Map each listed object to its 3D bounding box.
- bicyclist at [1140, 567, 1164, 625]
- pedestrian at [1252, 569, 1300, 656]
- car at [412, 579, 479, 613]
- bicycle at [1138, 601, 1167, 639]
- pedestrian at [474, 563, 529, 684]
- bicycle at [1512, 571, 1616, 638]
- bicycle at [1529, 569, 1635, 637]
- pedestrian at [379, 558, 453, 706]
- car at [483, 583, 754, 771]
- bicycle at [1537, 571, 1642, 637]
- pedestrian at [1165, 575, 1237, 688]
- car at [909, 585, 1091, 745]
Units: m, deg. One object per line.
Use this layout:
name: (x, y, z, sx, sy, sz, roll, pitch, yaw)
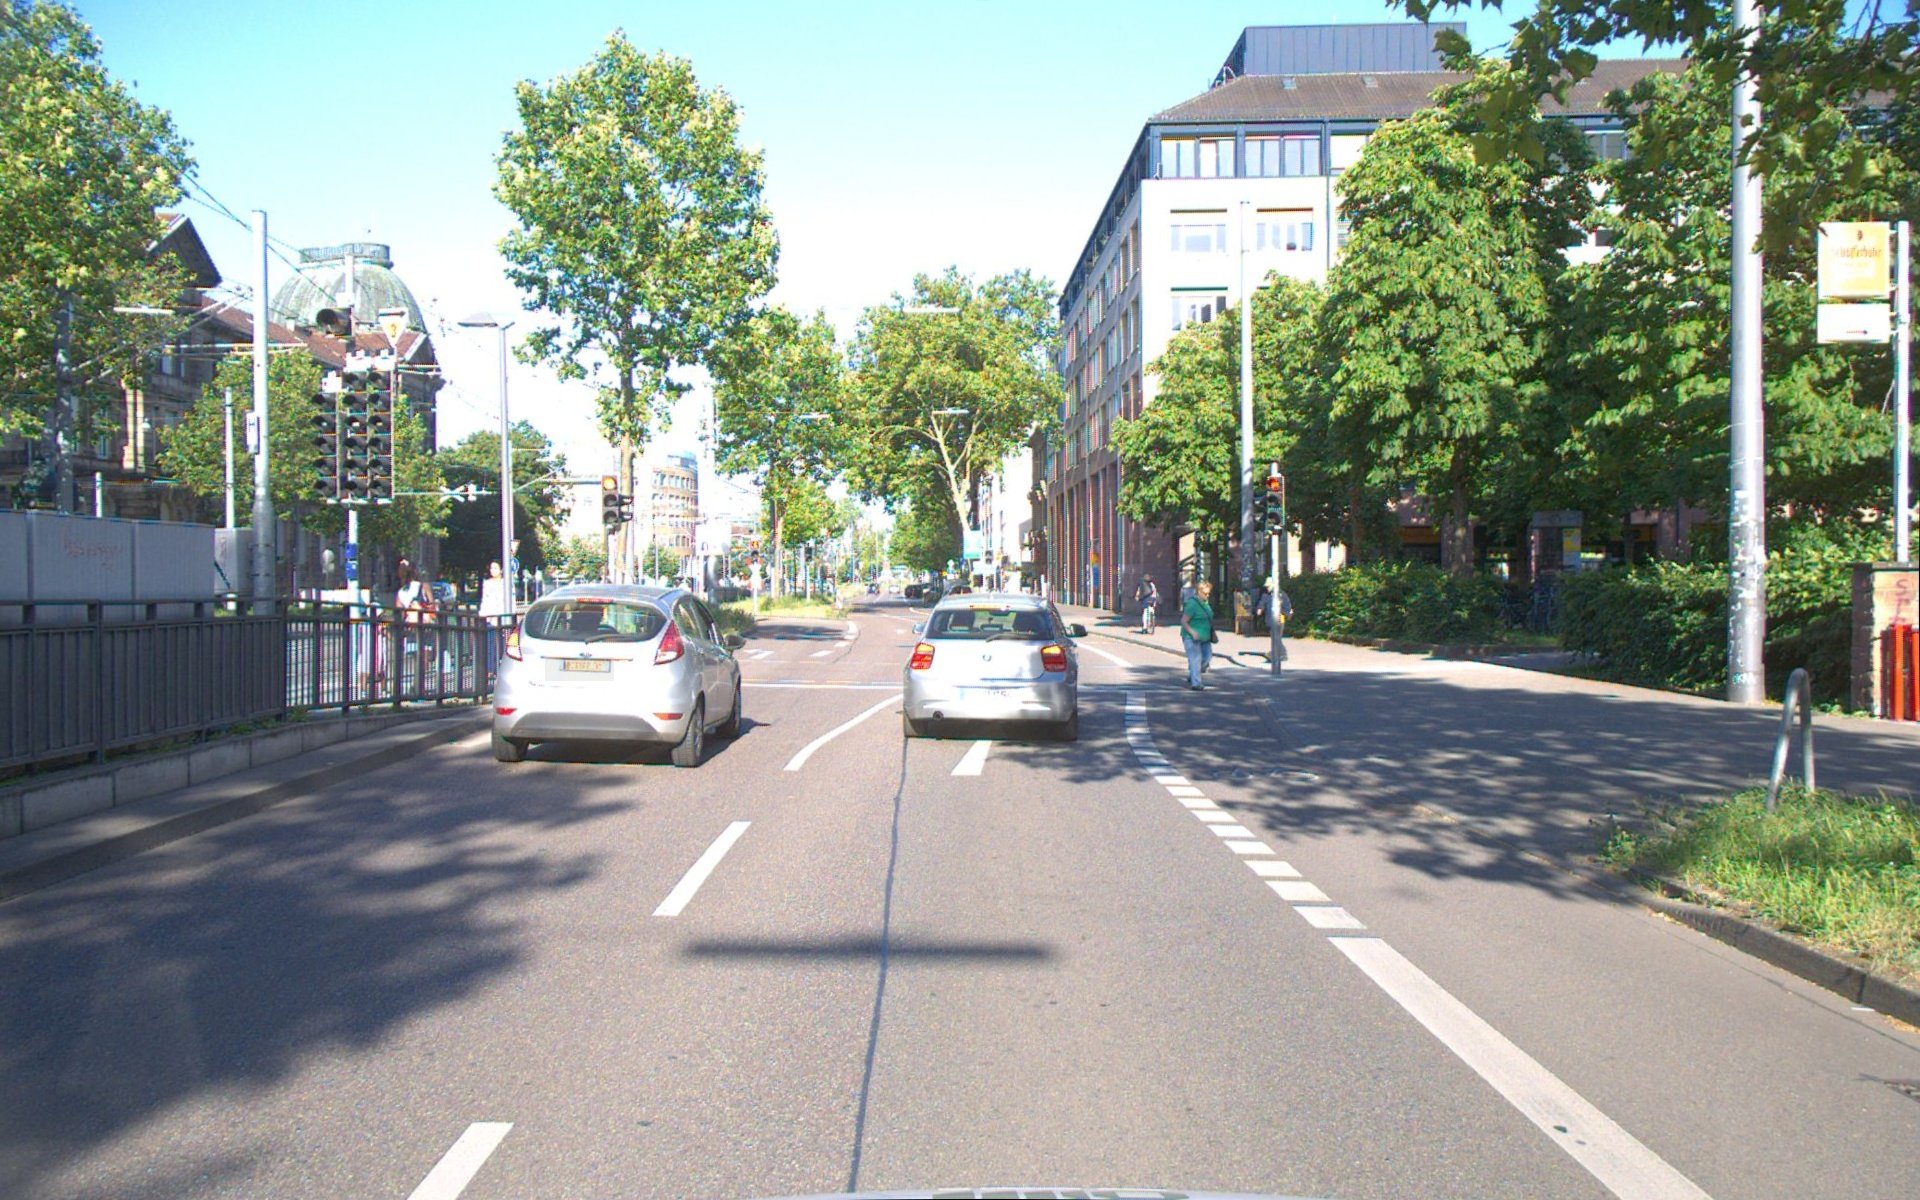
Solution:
bicyclist: (5.688, -0.122, 48.971, 0.644, 1.686, 0.765, -1, 0, 7)
pedestrian: (6.123, 0.225, 32.064, 0.615, 1.657, 0.941, 1, 0, 32)
car: (-25.445, -0.230, 81.943, 1.952, 1.653, 4.001, 0, 1, 2)
bicycle: (5.709, 0.577, 48.985, 0.814, 1.059, 1.876, -1, 1, 7)
pedestrian: (-6.352, 0.328, 22.943, 0.627, 1.648, 0.640, -1, -2, -5)
bicycle: (12.754, 0.101, 34.974, 1.955, 1.337, 0.574, -2, 0, 1)
bicycle: (12.920, 0.065, 34.394, 1.955, 1.337, 0.574, -2, 0, 1)
pedestrian: (-5.920, 0.339, 18.019, 0.618, 1.584, 0.646, 0, 0, -6)
car: (-2.875, 0.593, 14.639, 1.626, 1.434, 3.632, 1, 0, 0)
bicycle: (13.308, 0.081, 35.003, 1.955, 1.337, 0.574, -2, 0, 1)
pedestrian: (3.551, 0.452, 24.346, 0.814, 1.603, 0.737, 2, 1, 30)
car: (0.486, 0.600, 17.549, 1.694, 1.414, 3.842, 1, 1, 3)
